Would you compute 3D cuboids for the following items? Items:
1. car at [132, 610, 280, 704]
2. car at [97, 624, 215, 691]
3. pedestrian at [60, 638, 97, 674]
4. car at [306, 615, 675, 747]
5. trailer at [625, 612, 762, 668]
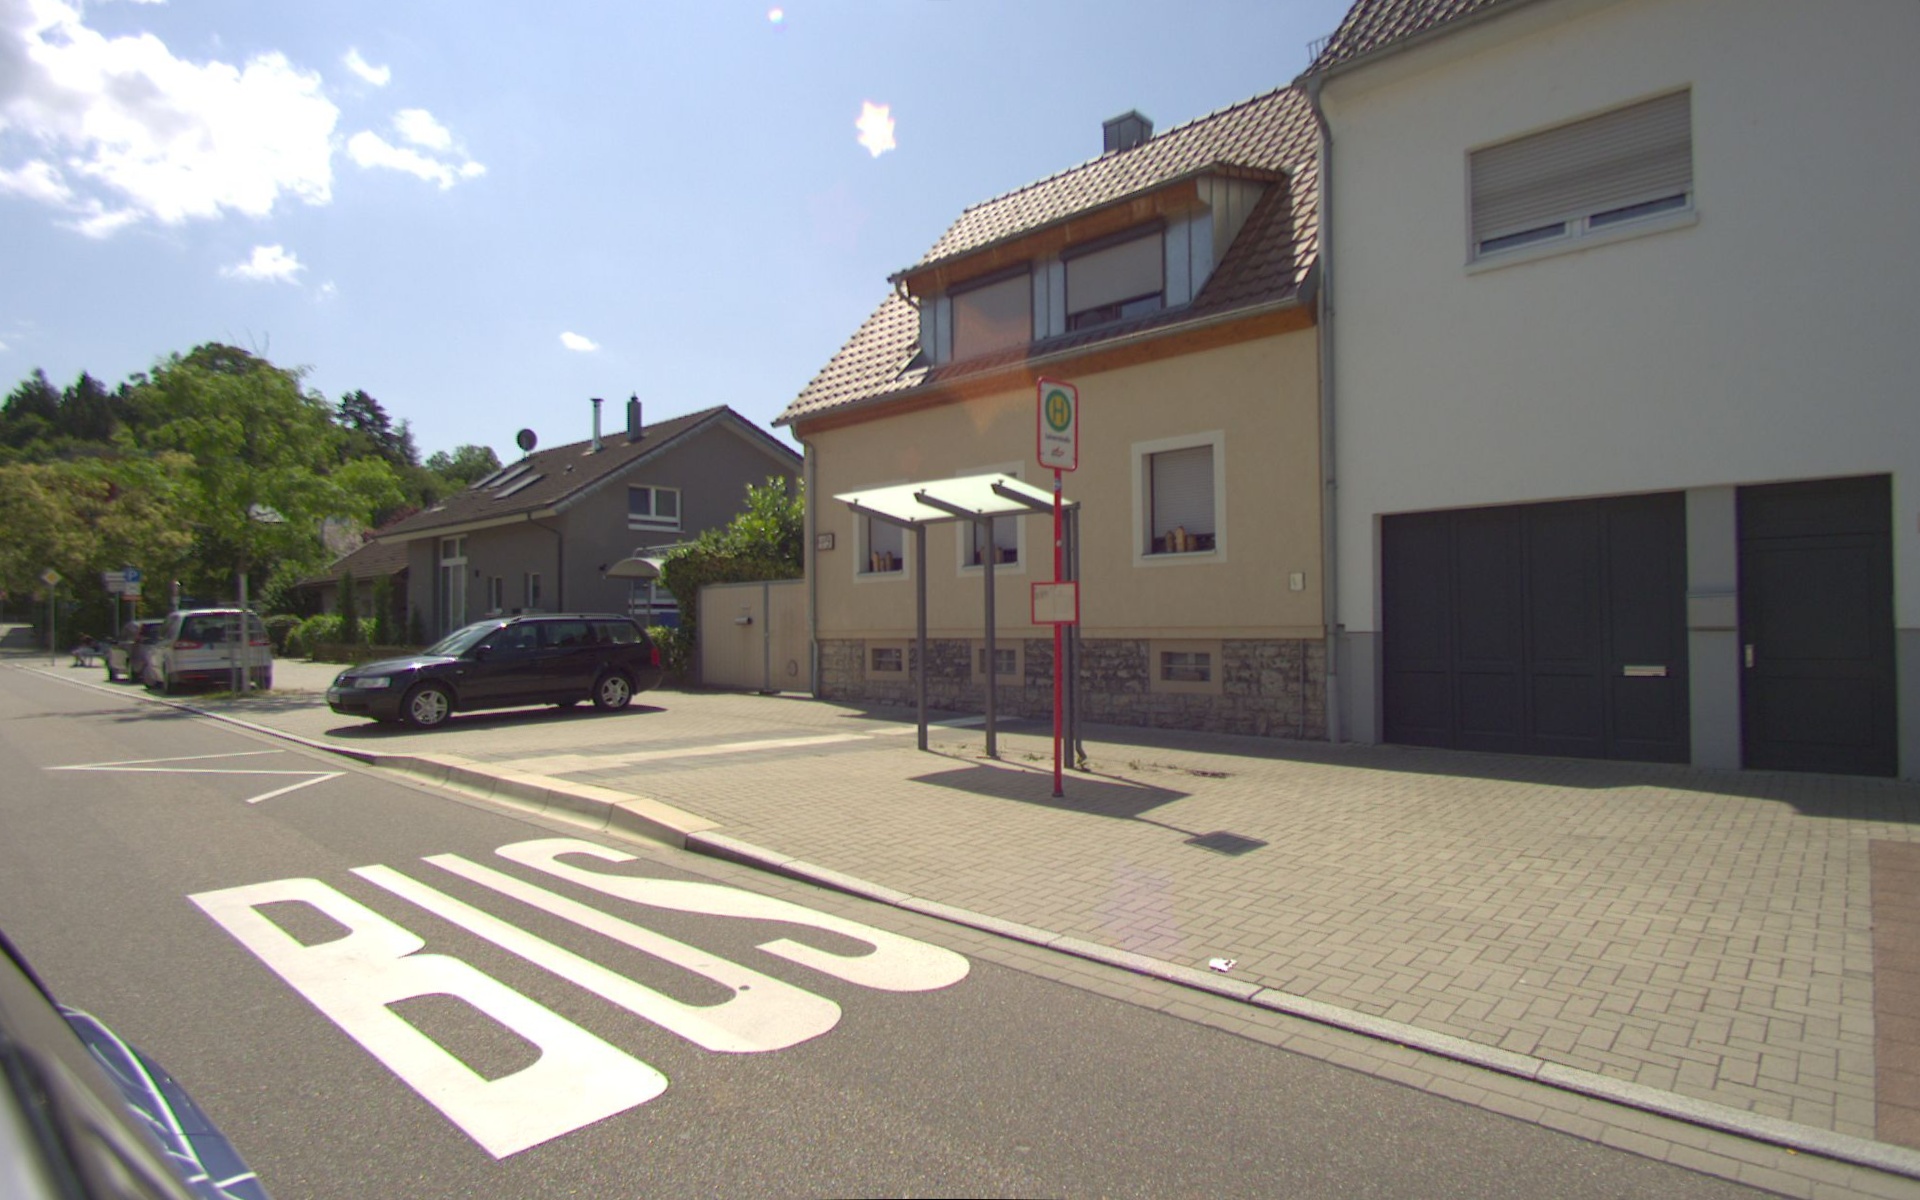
[{"bbox_3d":[-16.435,1.200,21.966,4.687,1.761,1.819,-3,-1,44],"label":"car"},{"bbox_3d":[-20.834,1.455,26.163,3.907,1.536,1.704,-3,-1,41],"label":"car"},{"bbox_3d":[-30.147,1.915,34.604,0.884,1.150,0.805,-1,1,39],"label":"pedestrian"},{"bbox_3d":[-6.717,1.049,14.874,1.901,1.528,4.538,-1,0,42],"label":"car"},{"bbox_3d":[-7.591,1.101,29.056,1.583,1.399,3.599,-1,1,36],"label":"trailer"}]
